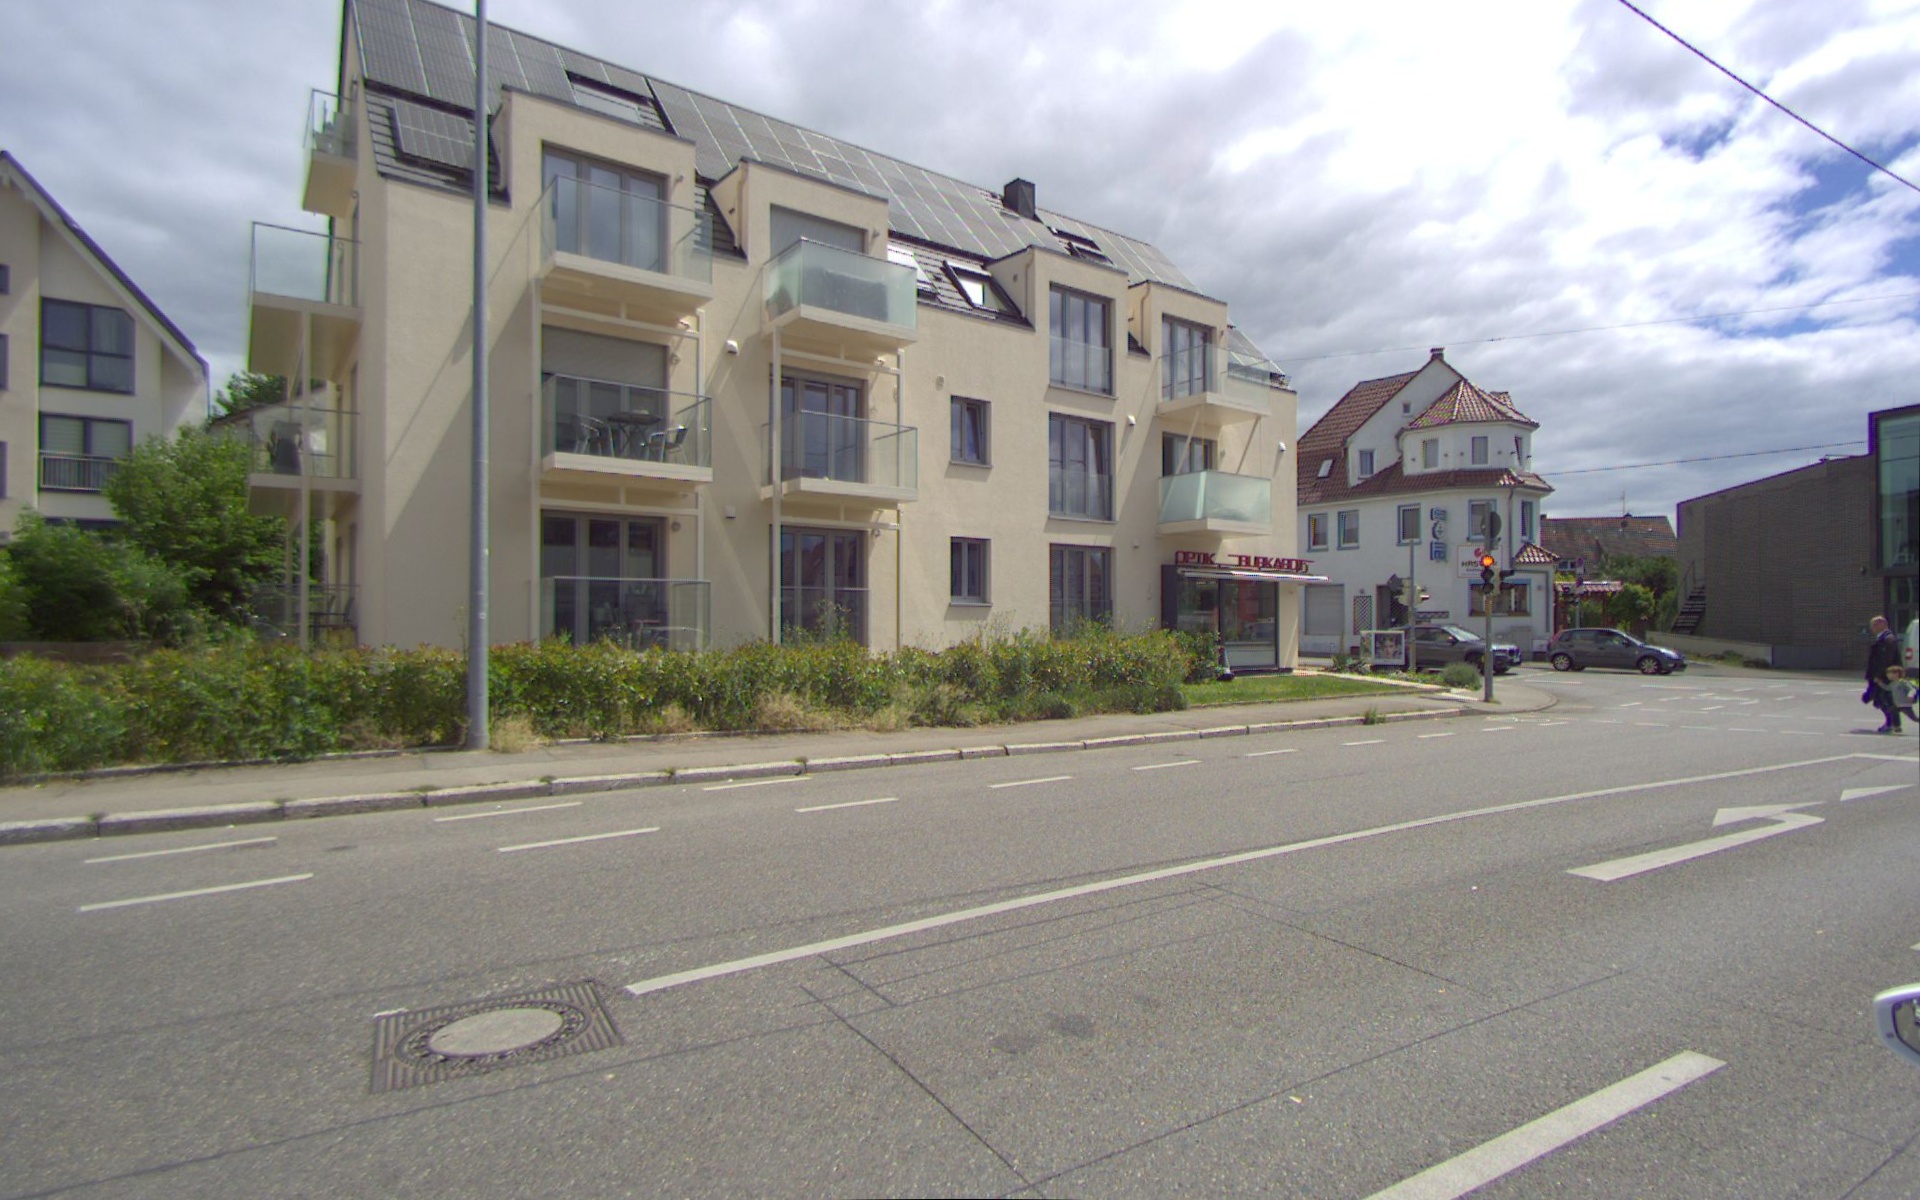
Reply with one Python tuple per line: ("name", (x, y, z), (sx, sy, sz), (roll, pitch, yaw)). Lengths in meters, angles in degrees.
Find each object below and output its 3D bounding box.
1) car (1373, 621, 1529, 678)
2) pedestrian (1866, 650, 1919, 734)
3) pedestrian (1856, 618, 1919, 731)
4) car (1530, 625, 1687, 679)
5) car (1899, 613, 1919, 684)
("car", (16.226, 1.588, 33.365), (1.984, 1.697, 4.255), (2, -1, -40))
("pedestrian", (14.523, 1.411, 15.525), (0.641, 1.238, 0.726), (2, -1, -44))
("pedestrian", (14.976, 1.166, 16.131), (0.812, 1.744, 0.814), (2, -1, -44))
("car", (21.149, 1.636, 32.860), (1.986, 1.506, 3.948), (2, 0, -43))
("car", (27.061, 1.336, 25.979), (4.017, 1.873, 1.988), (2, 0, 44))
